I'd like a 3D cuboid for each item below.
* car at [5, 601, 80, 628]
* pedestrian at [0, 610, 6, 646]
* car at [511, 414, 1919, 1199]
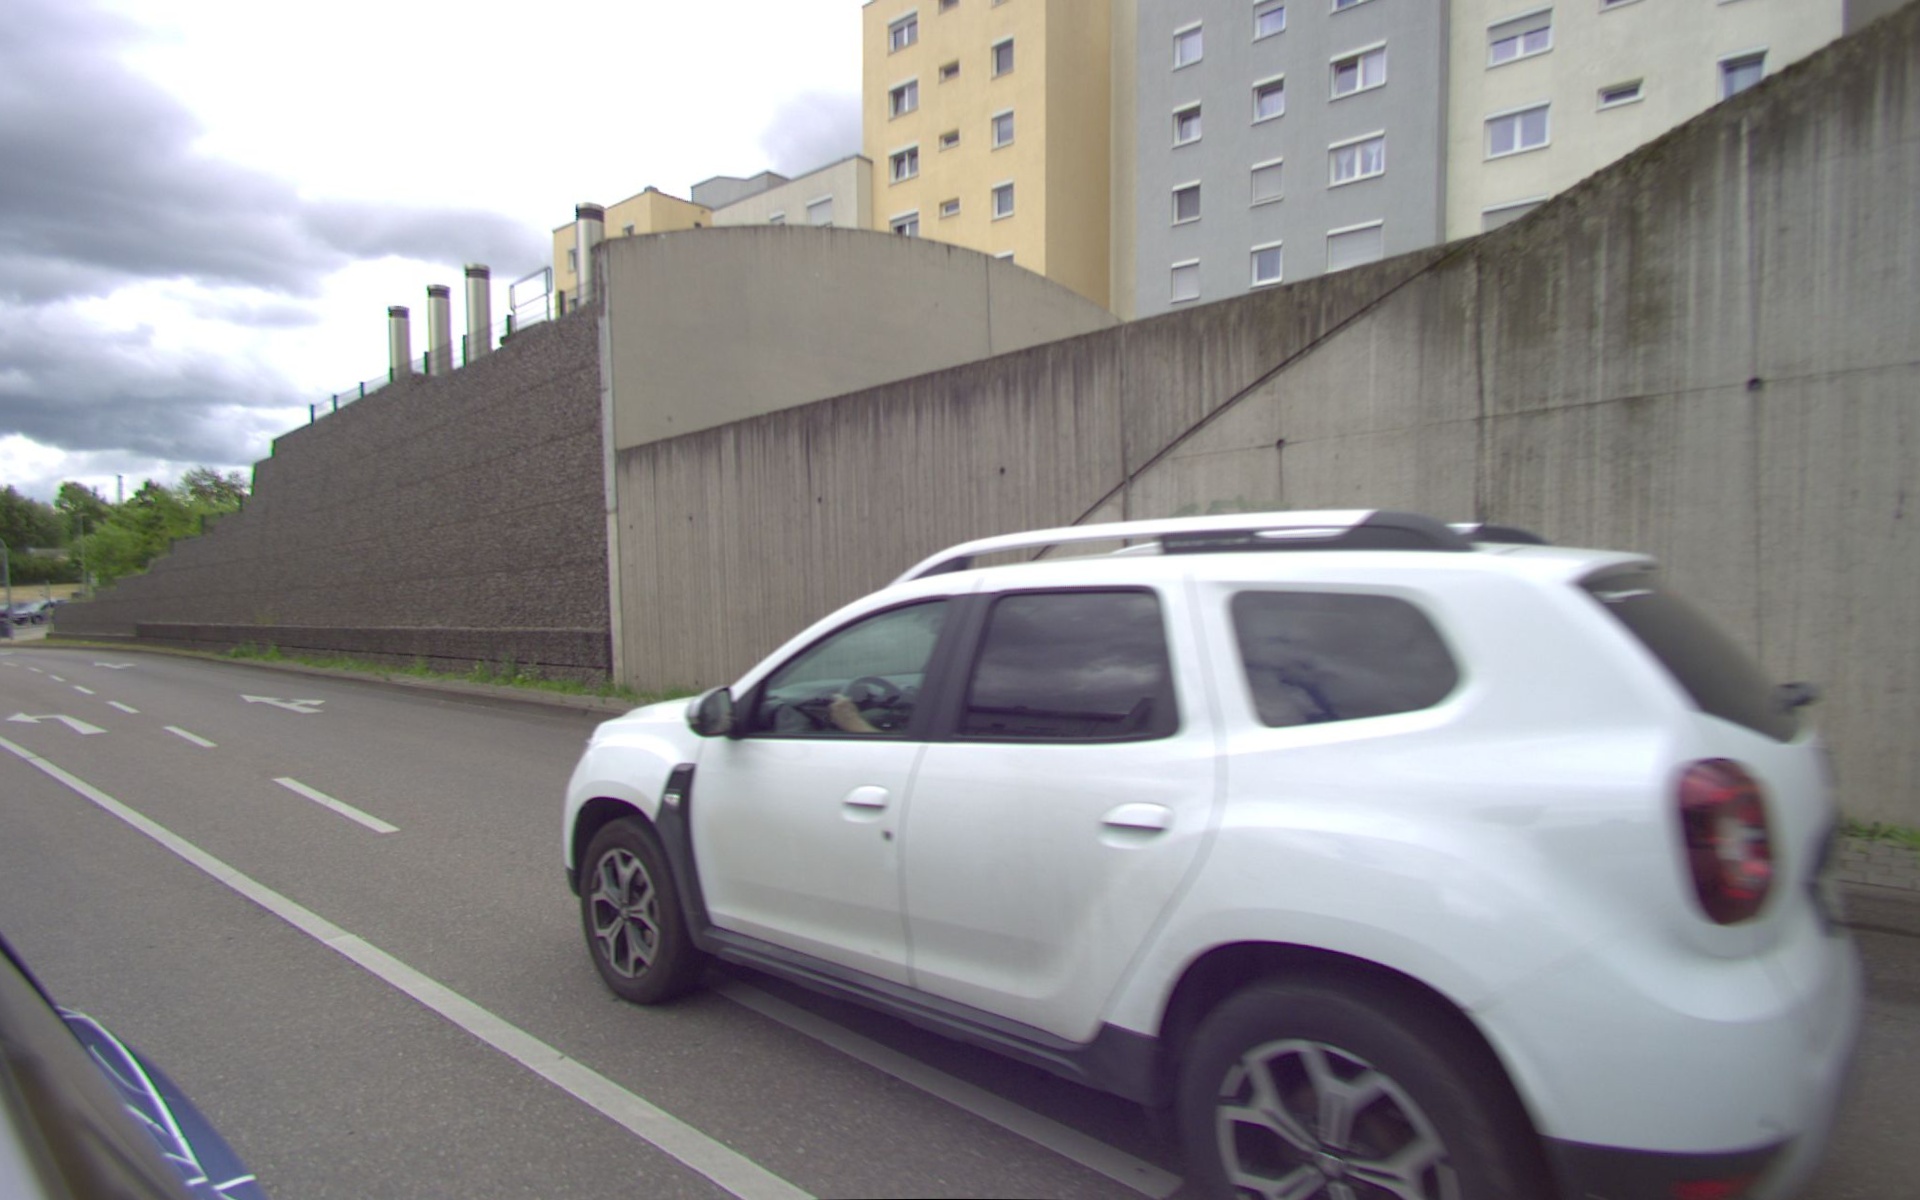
[{"bbox_3d":[-71.160,1.097,78.575,1.737,1.741,4.259,-3,3,4],"label":"car"},{"bbox_3d":[-49.799,1.445,52.103,0.661,1.840,0.620,-1,3,22],"label":"pedestrian"},{"bbox_3d":[0.390,0.594,3.377,4.206,1.644,1.842,-2,0,42],"label":"car"}]
